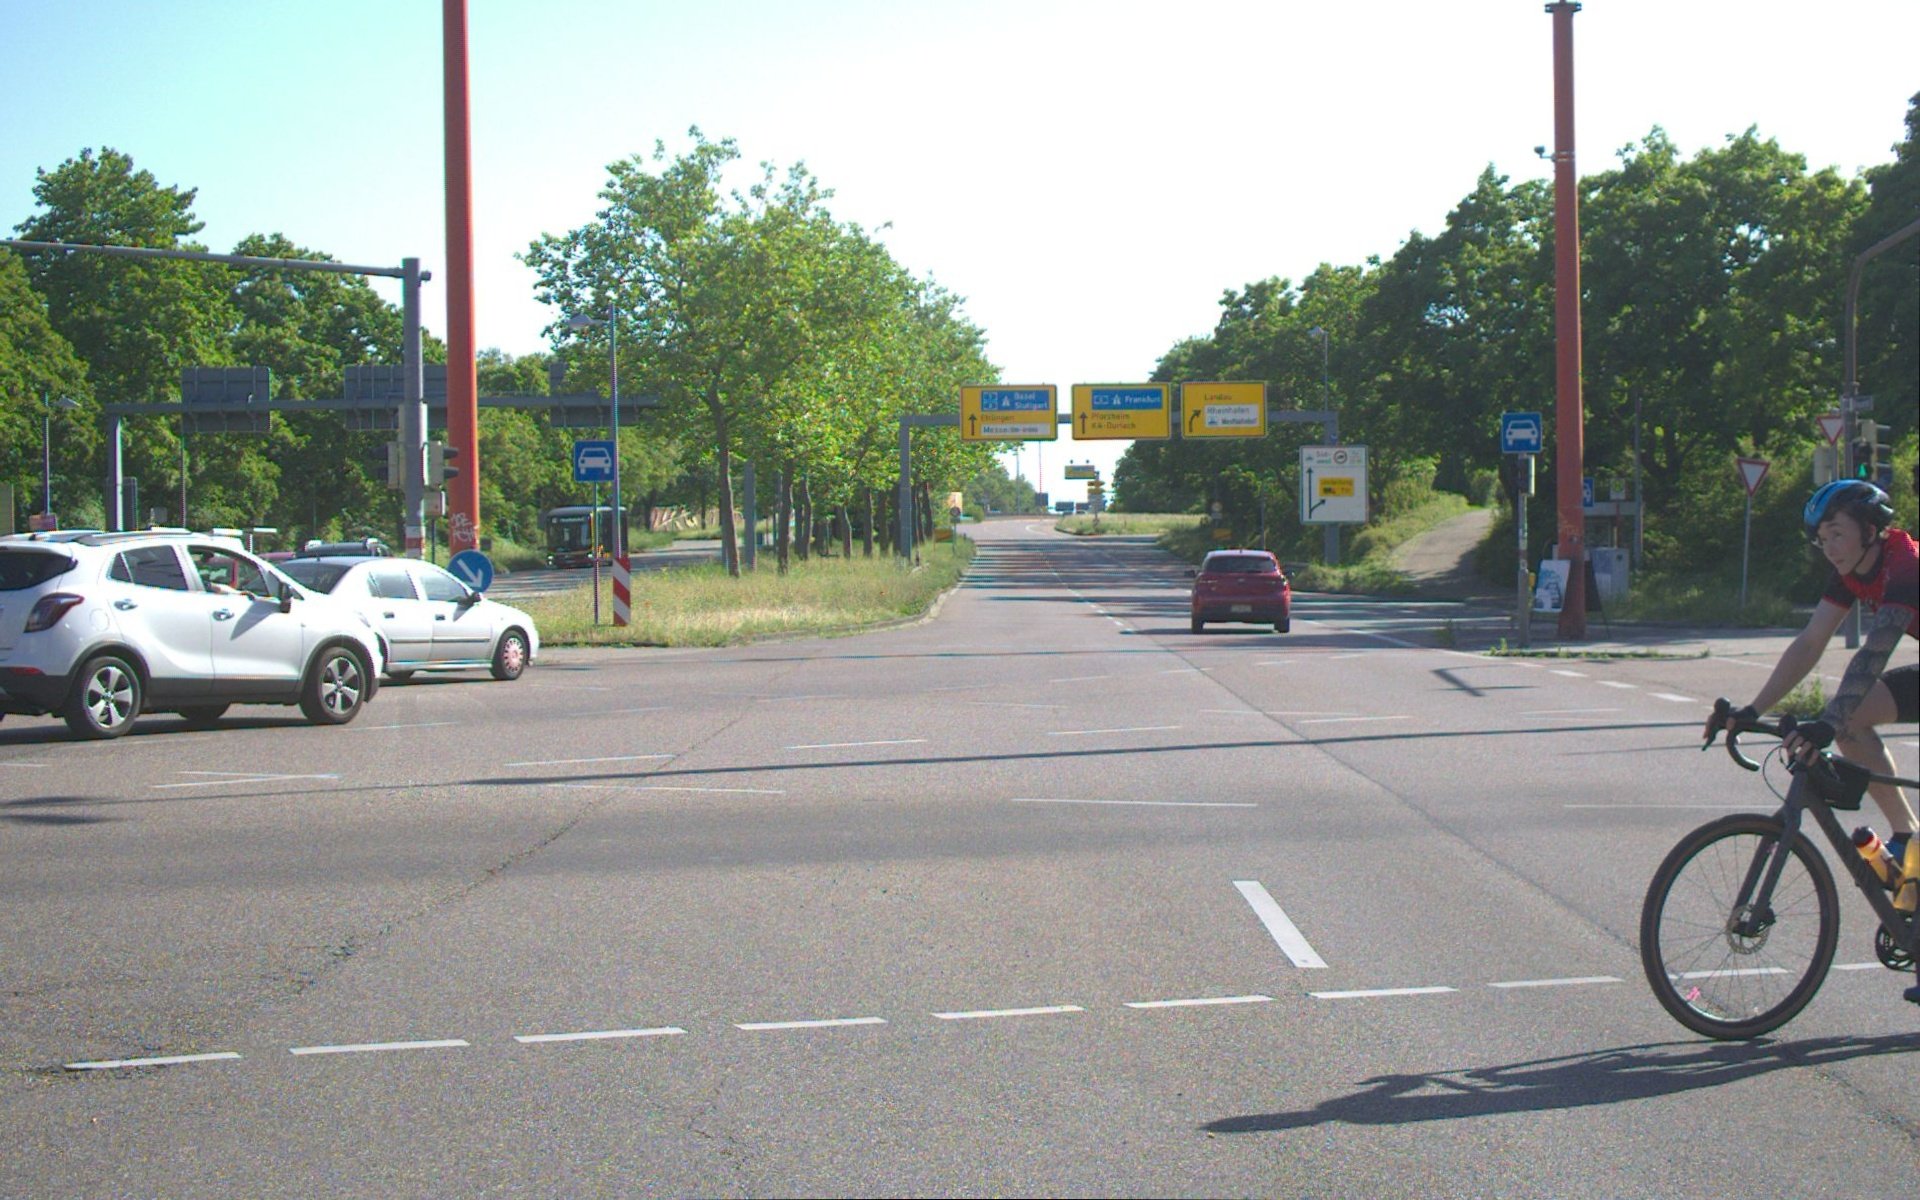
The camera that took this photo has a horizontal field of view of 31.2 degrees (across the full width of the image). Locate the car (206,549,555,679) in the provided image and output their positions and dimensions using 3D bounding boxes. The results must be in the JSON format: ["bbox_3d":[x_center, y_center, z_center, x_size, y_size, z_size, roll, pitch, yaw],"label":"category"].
[{"bbox_3d":[-6.249,0.139,37.474,1.485,1.341,3.993,0,0,32],"label":"car"}]

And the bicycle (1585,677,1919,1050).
[{"bbox_3d":[2.957,0.790,10.858,1.825,1.054,0.723,-1,1,-22],"label":"bicycle"}]

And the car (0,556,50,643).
[{"bbox_3d":[-16.424,-0.018,57.058,1.739,1.406,3.613,-1,1,-1],"label":"car"}]

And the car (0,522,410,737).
[{"bbox_3d":[-6.680,0.184,28.309,1.826,1.630,4.245,0,1,34],"label":"car"}]

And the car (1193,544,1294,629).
[{"bbox_3d":[5.088,-0.263,61.296,1.680,1.430,4.064,0,1,6],"label":"car"}]

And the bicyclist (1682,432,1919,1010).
[{"bbox_3d":[2.914,0.353,10.848,0.993,1.735,0.737,-1,1,-22],"label":"bicyclist"}]

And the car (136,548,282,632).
[{"bbox_3d":[-12.693,-0.191,58.282,1.739,1.357,3.613,-1,1,-1],"label":"car"}]

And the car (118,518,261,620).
[{"bbox_3d":[-15.885,-0.636,71.084,1.893,2.019,5.223,0,1,-1],"label":"car"}]

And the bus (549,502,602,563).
[{"bbox_3d":[-21.067,-3.692,188.732,2.491,3.227,10.002,-1,1,-4],"label":"bus"}]
